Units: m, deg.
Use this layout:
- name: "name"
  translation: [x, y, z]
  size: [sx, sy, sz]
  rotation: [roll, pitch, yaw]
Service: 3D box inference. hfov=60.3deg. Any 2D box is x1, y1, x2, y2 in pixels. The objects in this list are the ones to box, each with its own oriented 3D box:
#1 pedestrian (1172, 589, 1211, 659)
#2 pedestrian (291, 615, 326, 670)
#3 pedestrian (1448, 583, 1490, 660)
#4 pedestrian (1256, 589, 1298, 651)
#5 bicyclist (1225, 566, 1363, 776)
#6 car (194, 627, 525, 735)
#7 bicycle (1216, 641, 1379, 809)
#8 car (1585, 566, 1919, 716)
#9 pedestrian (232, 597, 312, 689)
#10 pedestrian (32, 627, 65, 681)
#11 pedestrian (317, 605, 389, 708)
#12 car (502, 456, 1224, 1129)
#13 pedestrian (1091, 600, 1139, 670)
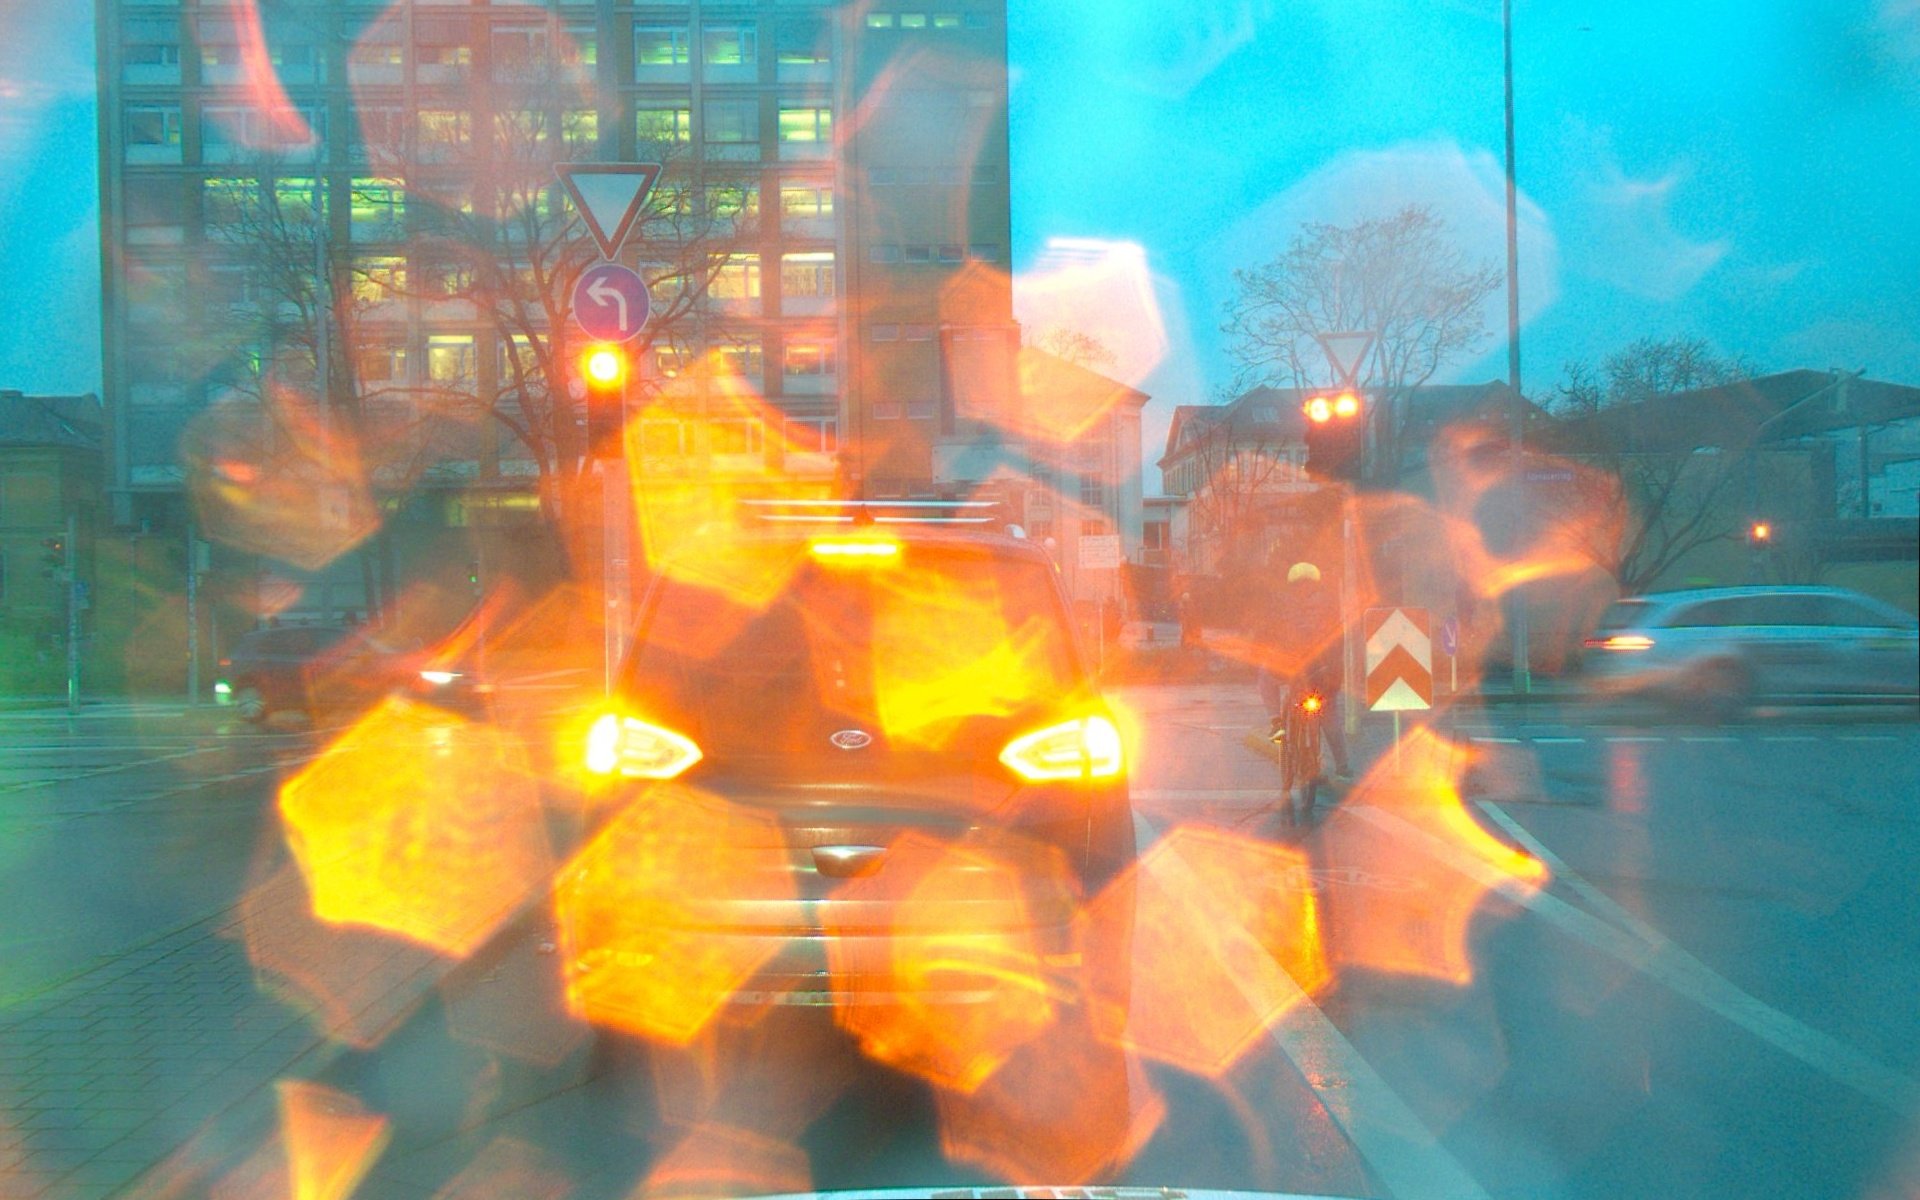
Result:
- name: "pedestrian"
  translation: [6.225, 0.630, 44.384]
  size: [0.975, 1.831, 0.920]
  rotation: [-2, 0, 8]
- name: "pedestrian"
  translation: [-19.861, 1.296, 50.431]
  size: [0.743, 1.656, 0.558]
  rotation: [-2, 0, 14]
- name: "pedestrian"
  translation: [14.470, 0.601, 47.009]
  size: [0.865, 2.150, 0.896]
  rotation: [-2, 0, 0]
- name: "pedestrian"
  translation: [8.228, 0.507, 42.926]
  size: [0.905, 1.559, 1.043]
  rotation: [-2, 0, 4]
- name: "bicyclist"
  translation: [2.463, 0.507, 12.303]
  size: [0.767, 1.478, 1.133]
  rotation: [1, 0, -1]
- name: "car"
  translation: [-9.163, 1.230, 25.331]
  size: [4.480, 1.503, 1.813]
  rotation: [-2, -1, 13]
- name: "bicycle"
  translation: [2.459, 0.877, 12.283]
  size: [0.767, 1.094, 1.956]
  rotation: [1, 0, -1]
- name: "car"
  translation: [9.855, 0.452, 19.101]
  size: [4.584, 1.579, 1.940]
  rotation: [-2, -1, 9]
- name: "pedestrian"
  translation: [-14.892, 0.920, 35.825]
  size: [0.981, 1.874, 1.139]
  rotation: [-2, 2, 21]
- name: "pedestrian"
  translation: [-29.701, 1.745, 53.899]
  size: [0.625, 1.718, 0.637]
  rotation: [-2, 0, 16]
- name: "pedestrian"
  translation: [-12.286, 1.138, 33.502]
  size: [0.908, 2.013, 0.960]
  rotation: [-2, 0, 20]
- name: "car"
  translation: [-0.288, 0.539, 6.545]
  size: [1.953, 1.821, 3.999]
  rotation: [1, 0, -1]
- name: "pedestrian"
  translation: [4.051, 0.908, 43.181]
  size: [1.111, 1.750, 0.982]
  rotation: [-2, 0, 10]
